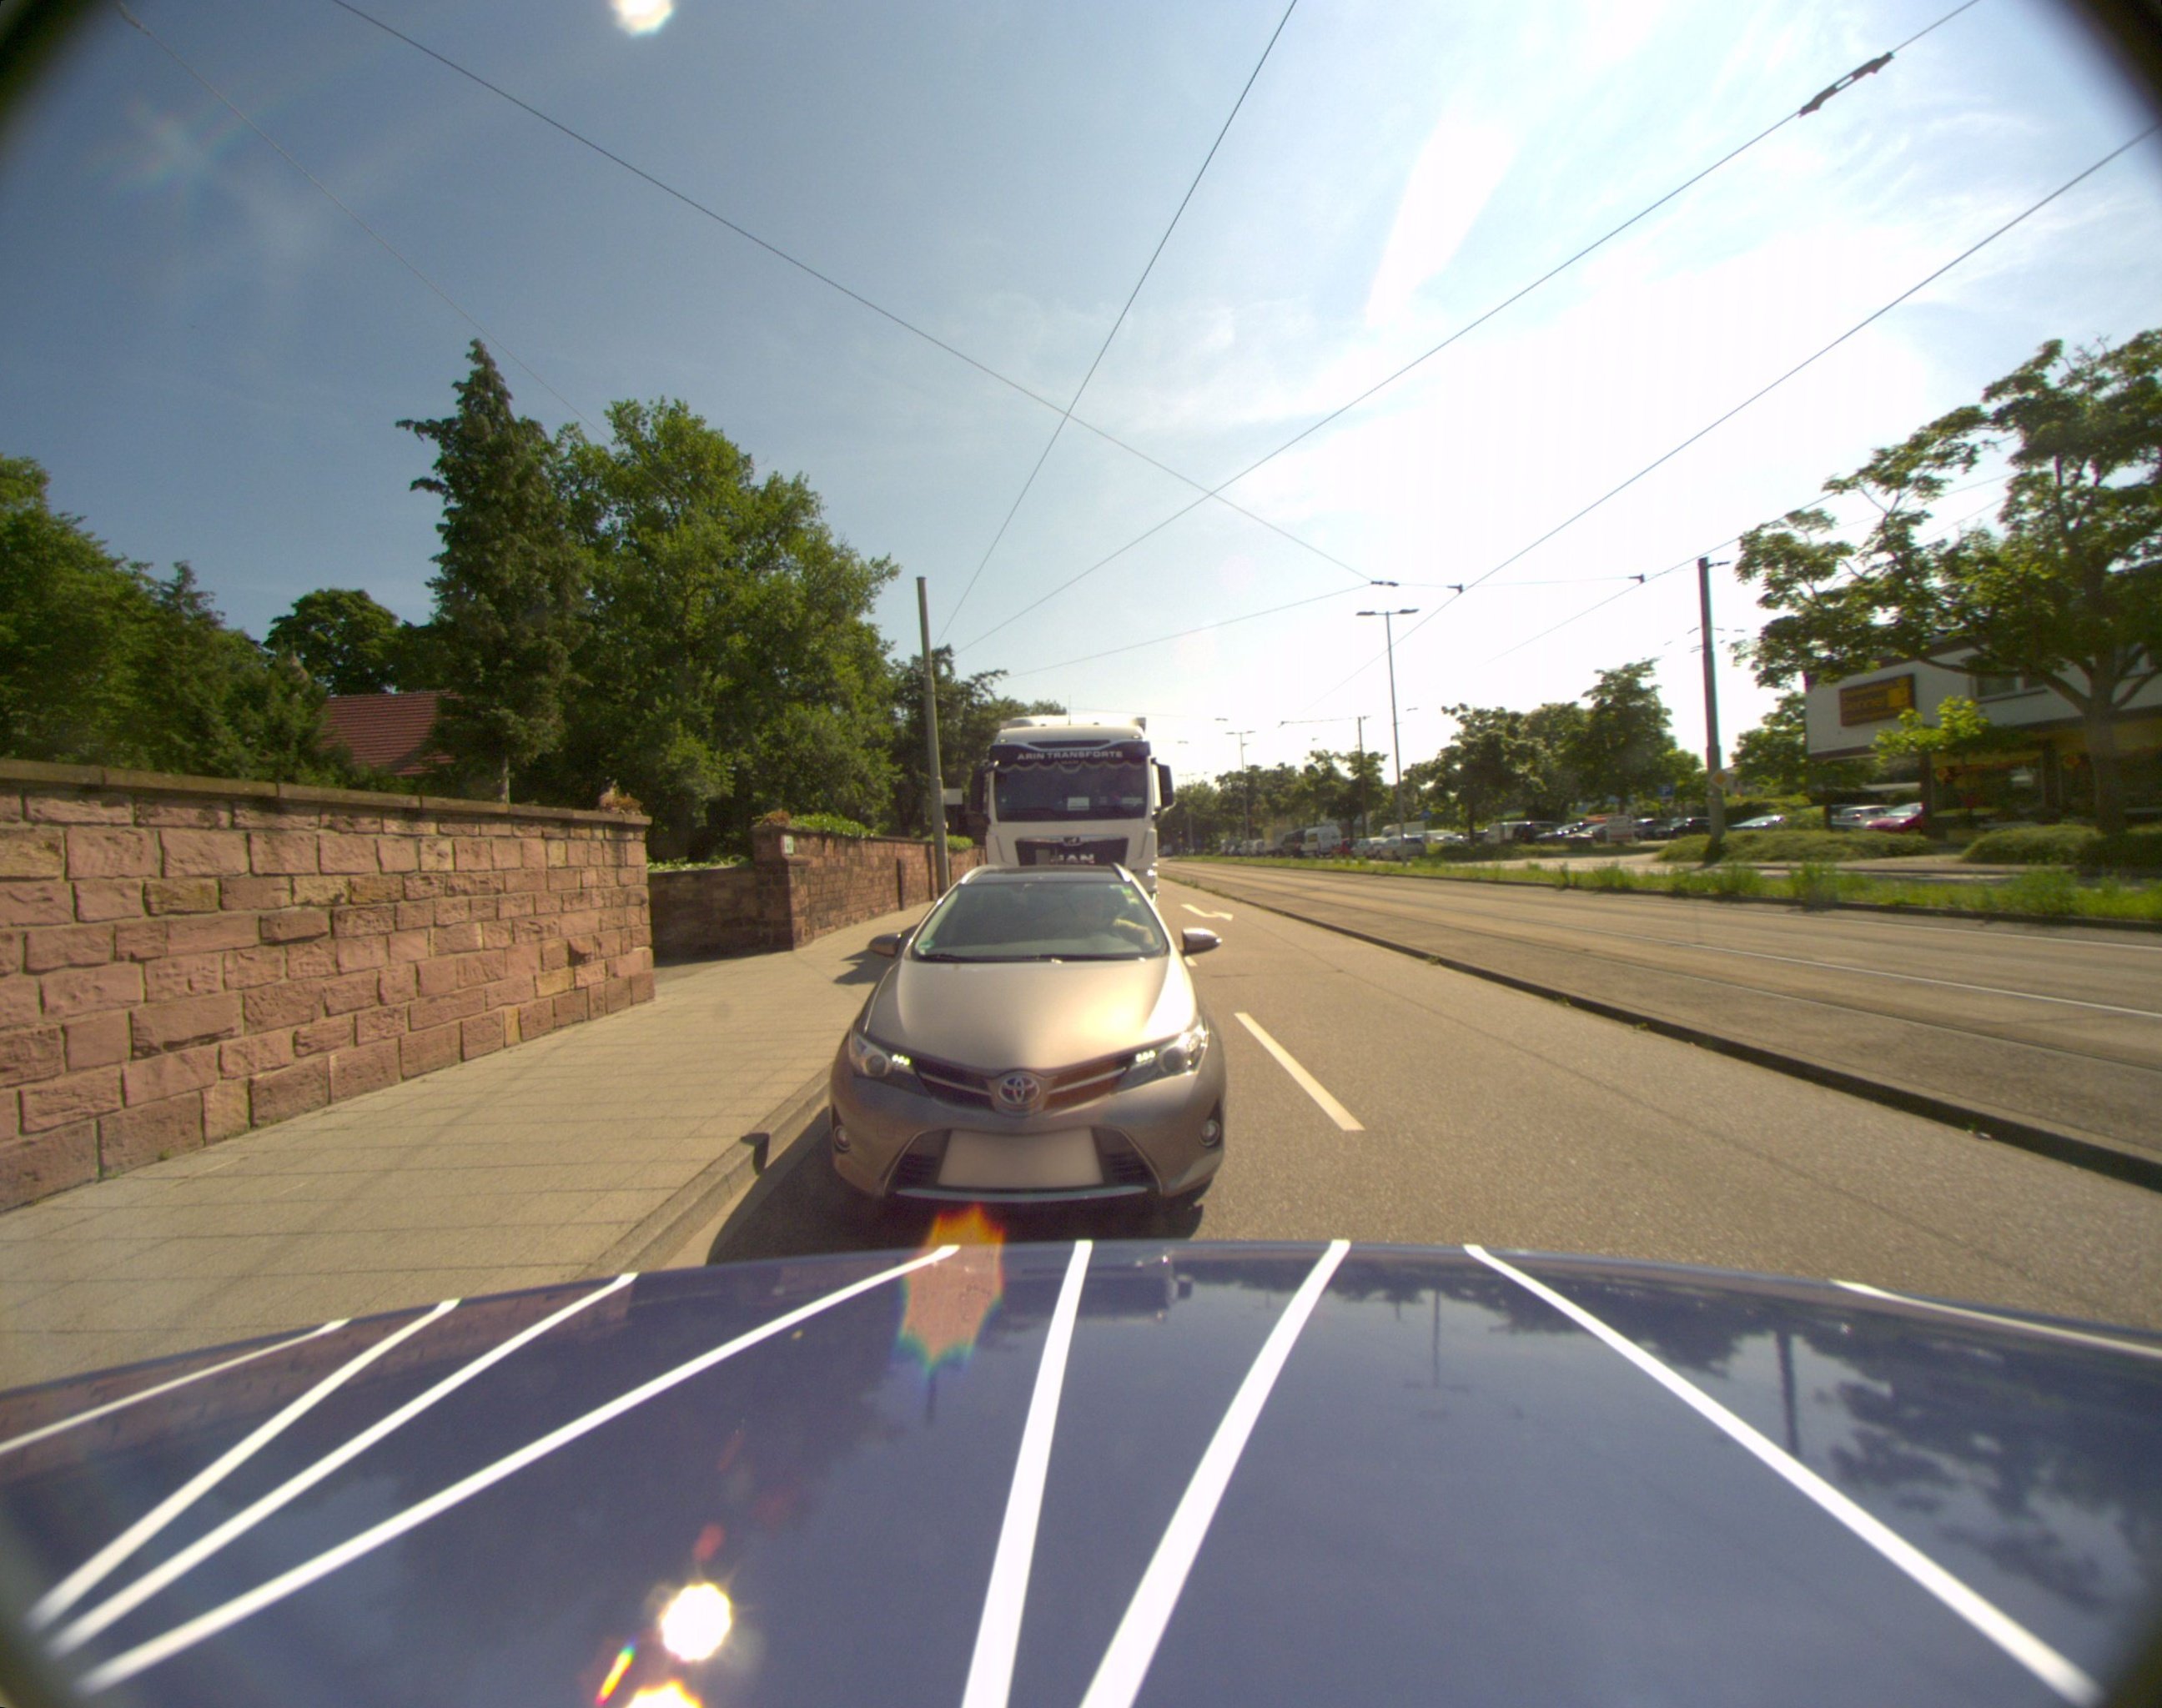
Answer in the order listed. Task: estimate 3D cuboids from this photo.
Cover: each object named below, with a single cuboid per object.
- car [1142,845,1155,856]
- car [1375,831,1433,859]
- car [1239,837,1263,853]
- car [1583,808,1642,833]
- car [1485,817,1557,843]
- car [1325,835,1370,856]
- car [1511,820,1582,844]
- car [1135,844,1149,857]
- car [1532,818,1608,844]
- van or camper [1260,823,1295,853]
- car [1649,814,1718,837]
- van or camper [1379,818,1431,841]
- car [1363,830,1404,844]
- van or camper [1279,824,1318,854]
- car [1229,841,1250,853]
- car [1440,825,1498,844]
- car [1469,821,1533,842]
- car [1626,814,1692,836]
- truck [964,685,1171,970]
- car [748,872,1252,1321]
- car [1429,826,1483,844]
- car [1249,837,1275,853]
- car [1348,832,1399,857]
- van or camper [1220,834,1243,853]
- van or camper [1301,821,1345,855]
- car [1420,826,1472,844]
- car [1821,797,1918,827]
[{"bbox_3d":[11.039,-0.593,124.500,1.817,1.725,4.023,-2,1,8],"label":"car"},{"bbox_3d":[20.393,-0.543,48.155,1.892,1.486,4.285,-6,0,2],"label":"car"},{"bbox_3d":[21.055,-1.100,94.291,1.893,1.757,4.232,-3,0,0],"label":"car"},{"bbox_3d":[43.654,-2.737,62.451,3.624,1.767,1.712,-3,1,-1],"label":"car"},{"bbox_3d":[30.450,-1.650,52.663,3.749,1.560,1.951,-3,1,-1],"label":"car"},{"bbox_3d":[20.580,-0.636,58.856,1.893,1.486,4.232,-3,0,0],"label":"car"},{"bbox_3d":[30.701,-1.451,50.197,3.624,1.353,1.712,-3,1,-1],"label":"car"},{"bbox_3d":[8.892,-0.528,110.155,1.817,1.725,4.023,-2,1,8],"label":"car"},{"bbox_3d":[30.498,-1.412,47.454,3.624,1.353,1.712,-3,1,-1],"label":"car"},{"bbox_3d":[20.292,-1.620,78.741,2.128,2.968,5.281,-3,0,0],"label":"van or camper"},{"bbox_3d":[43.533,-2.047,54.939,3.624,1.353,1.712,-3,1,-1],"label":"car"},{"bbox_3d":[44.862,-3.400,105.379,6.081,2.715,2.299,-3,1,3],"label":"van or camper"},{"bbox_3d":[32.003,-1.808,80.509,3.624,1.274,1.712,-3,1,-1],"label":"car"},{"bbox_3d":[20.218,-1.352,70.851,2.040,2.617,4.839,-3,0,0],"label":"van or camper"},{"bbox_3d":[20.918,-0.907,100.296,1.893,1.551,4.232,-3,0,0],"label":"car"},{"bbox_3d":[31.052,-1.549,60.871,3.624,1.274,1.812,-3,1,-1],"label":"car"},{"bbox_3d":[30.378,-1.589,54.990,3.624,1.277,1.712,-3,1,-1],"label":"car"},{"bbox_3d":[43.730,-2.196,57.528,3.624,1.353,1.712,-3,1,-1],"label":"car"},{"bbox_3d":[-0.118,-0.392,15.060,2.746,3.852,9.110,-2,0,1],"label":"truck"},{"bbox_3d":[-0.255,0.916,4.915,1.742,1.424,4.462,-2,0,1],"label":"car"},{"bbox_3d":[31.446,-1.595,63.705,3.624,1.274,1.712,-3,1,-1],"label":"car"},{"bbox_3d":[20.781,-1.039,87.355,1.893,1.724,4.232,-3,0,0],"label":"car"},{"bbox_3d":[20.536,-0.640,53.597,1.893,1.551,4.285,-3,0,0],"label":"car"},{"bbox_3d":[21.149,-1.483,107.207,2.114,2.604,5.451,-2,1,1],"label":"van or camper"},{"bbox_3d":[20.271,-1.274,63.796,2.040,2.617,4.839,-3,0,0],"label":"van or camper"},{"bbox_3d":[31.693,-1.632,66.023,3.624,1.274,1.712,-3,1,-1],"label":"car"},{"bbox_3d":[43.789,-2.306,42.235,3.624,1.353,1.712,-3,1,-1],"label":"car"}]
